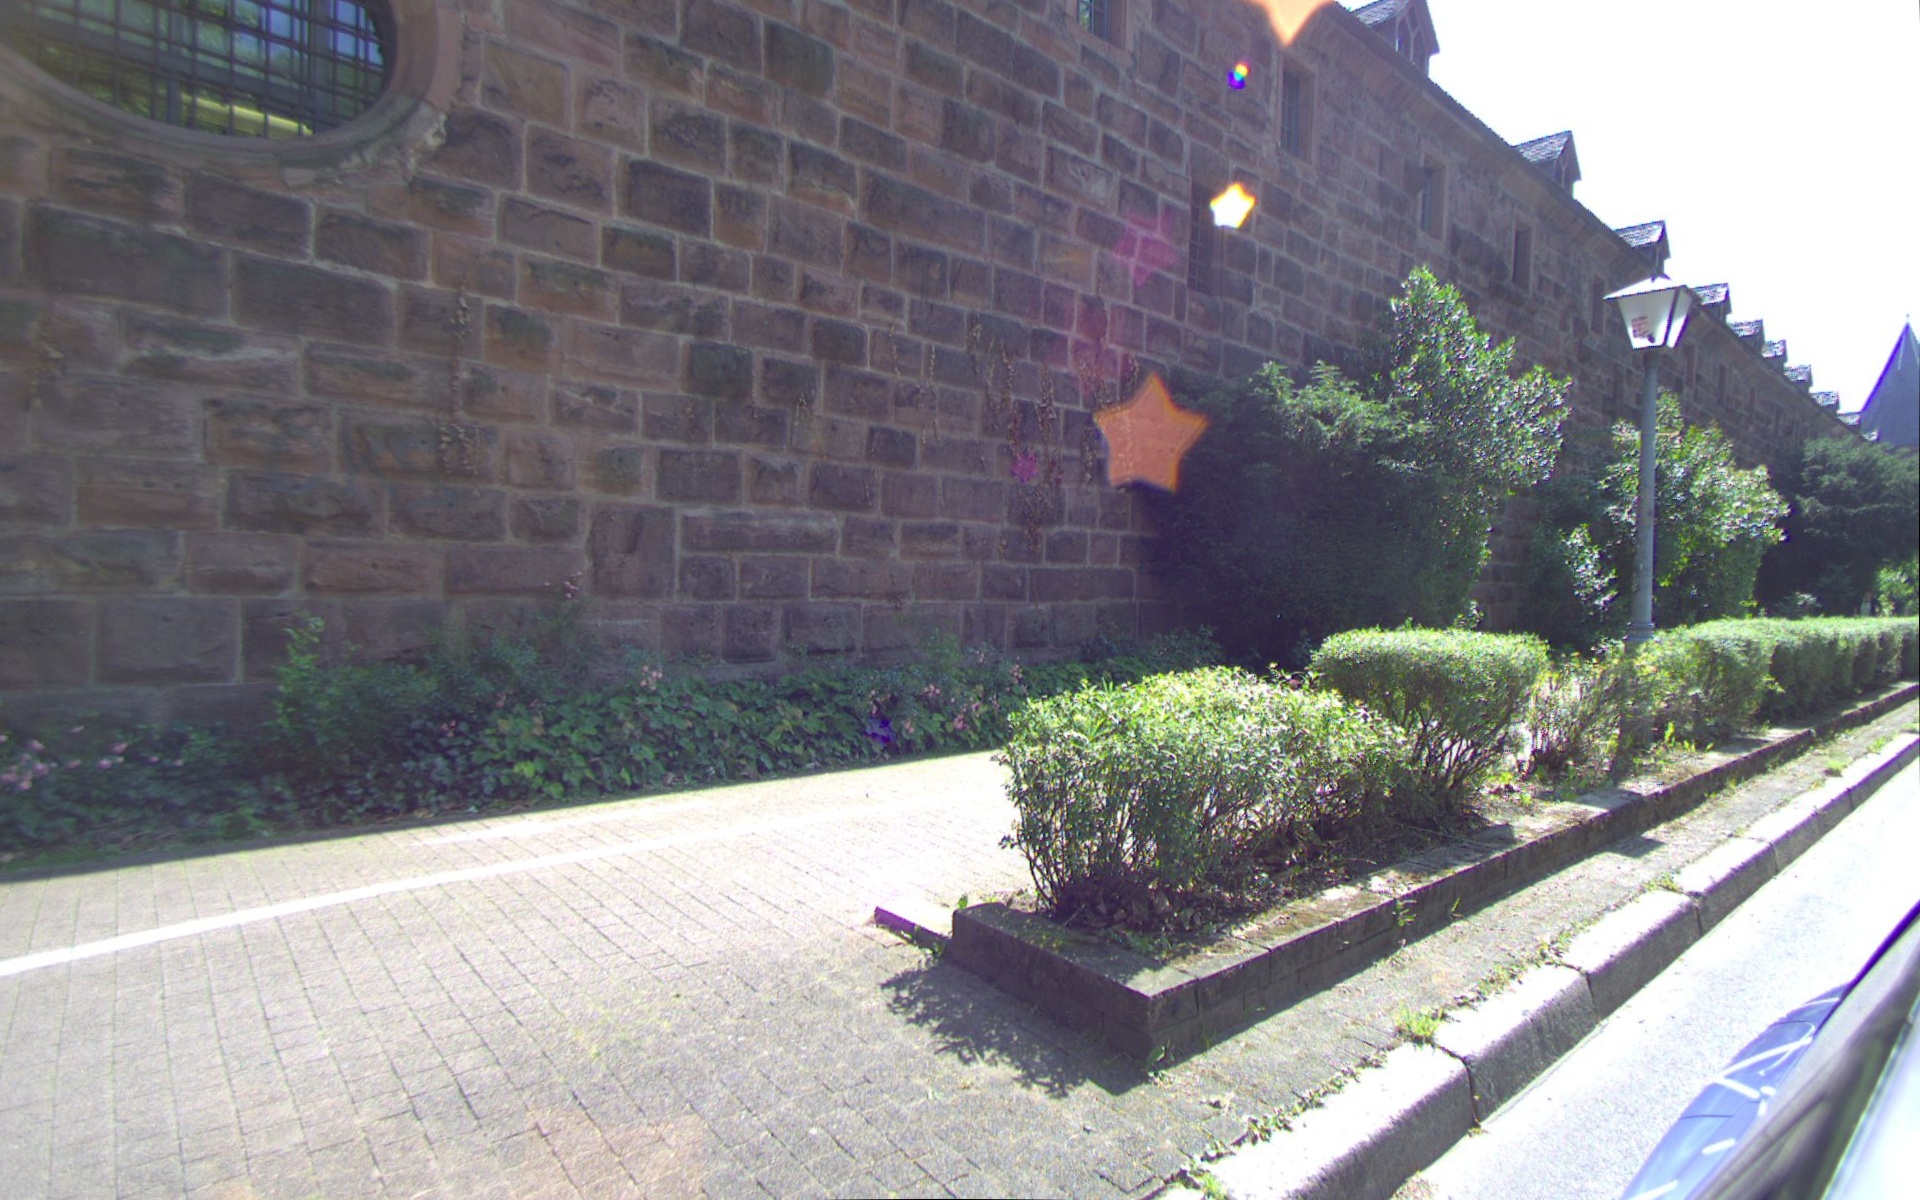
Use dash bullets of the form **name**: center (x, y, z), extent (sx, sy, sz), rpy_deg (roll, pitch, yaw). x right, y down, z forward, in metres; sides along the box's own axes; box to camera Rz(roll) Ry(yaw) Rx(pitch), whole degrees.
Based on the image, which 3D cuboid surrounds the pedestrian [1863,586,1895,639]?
- **pedestrian**: center (27.553, 0.363, 30.356), extent (0.554, 1.583, 0.642), rpy_deg (0, 0, -41)
